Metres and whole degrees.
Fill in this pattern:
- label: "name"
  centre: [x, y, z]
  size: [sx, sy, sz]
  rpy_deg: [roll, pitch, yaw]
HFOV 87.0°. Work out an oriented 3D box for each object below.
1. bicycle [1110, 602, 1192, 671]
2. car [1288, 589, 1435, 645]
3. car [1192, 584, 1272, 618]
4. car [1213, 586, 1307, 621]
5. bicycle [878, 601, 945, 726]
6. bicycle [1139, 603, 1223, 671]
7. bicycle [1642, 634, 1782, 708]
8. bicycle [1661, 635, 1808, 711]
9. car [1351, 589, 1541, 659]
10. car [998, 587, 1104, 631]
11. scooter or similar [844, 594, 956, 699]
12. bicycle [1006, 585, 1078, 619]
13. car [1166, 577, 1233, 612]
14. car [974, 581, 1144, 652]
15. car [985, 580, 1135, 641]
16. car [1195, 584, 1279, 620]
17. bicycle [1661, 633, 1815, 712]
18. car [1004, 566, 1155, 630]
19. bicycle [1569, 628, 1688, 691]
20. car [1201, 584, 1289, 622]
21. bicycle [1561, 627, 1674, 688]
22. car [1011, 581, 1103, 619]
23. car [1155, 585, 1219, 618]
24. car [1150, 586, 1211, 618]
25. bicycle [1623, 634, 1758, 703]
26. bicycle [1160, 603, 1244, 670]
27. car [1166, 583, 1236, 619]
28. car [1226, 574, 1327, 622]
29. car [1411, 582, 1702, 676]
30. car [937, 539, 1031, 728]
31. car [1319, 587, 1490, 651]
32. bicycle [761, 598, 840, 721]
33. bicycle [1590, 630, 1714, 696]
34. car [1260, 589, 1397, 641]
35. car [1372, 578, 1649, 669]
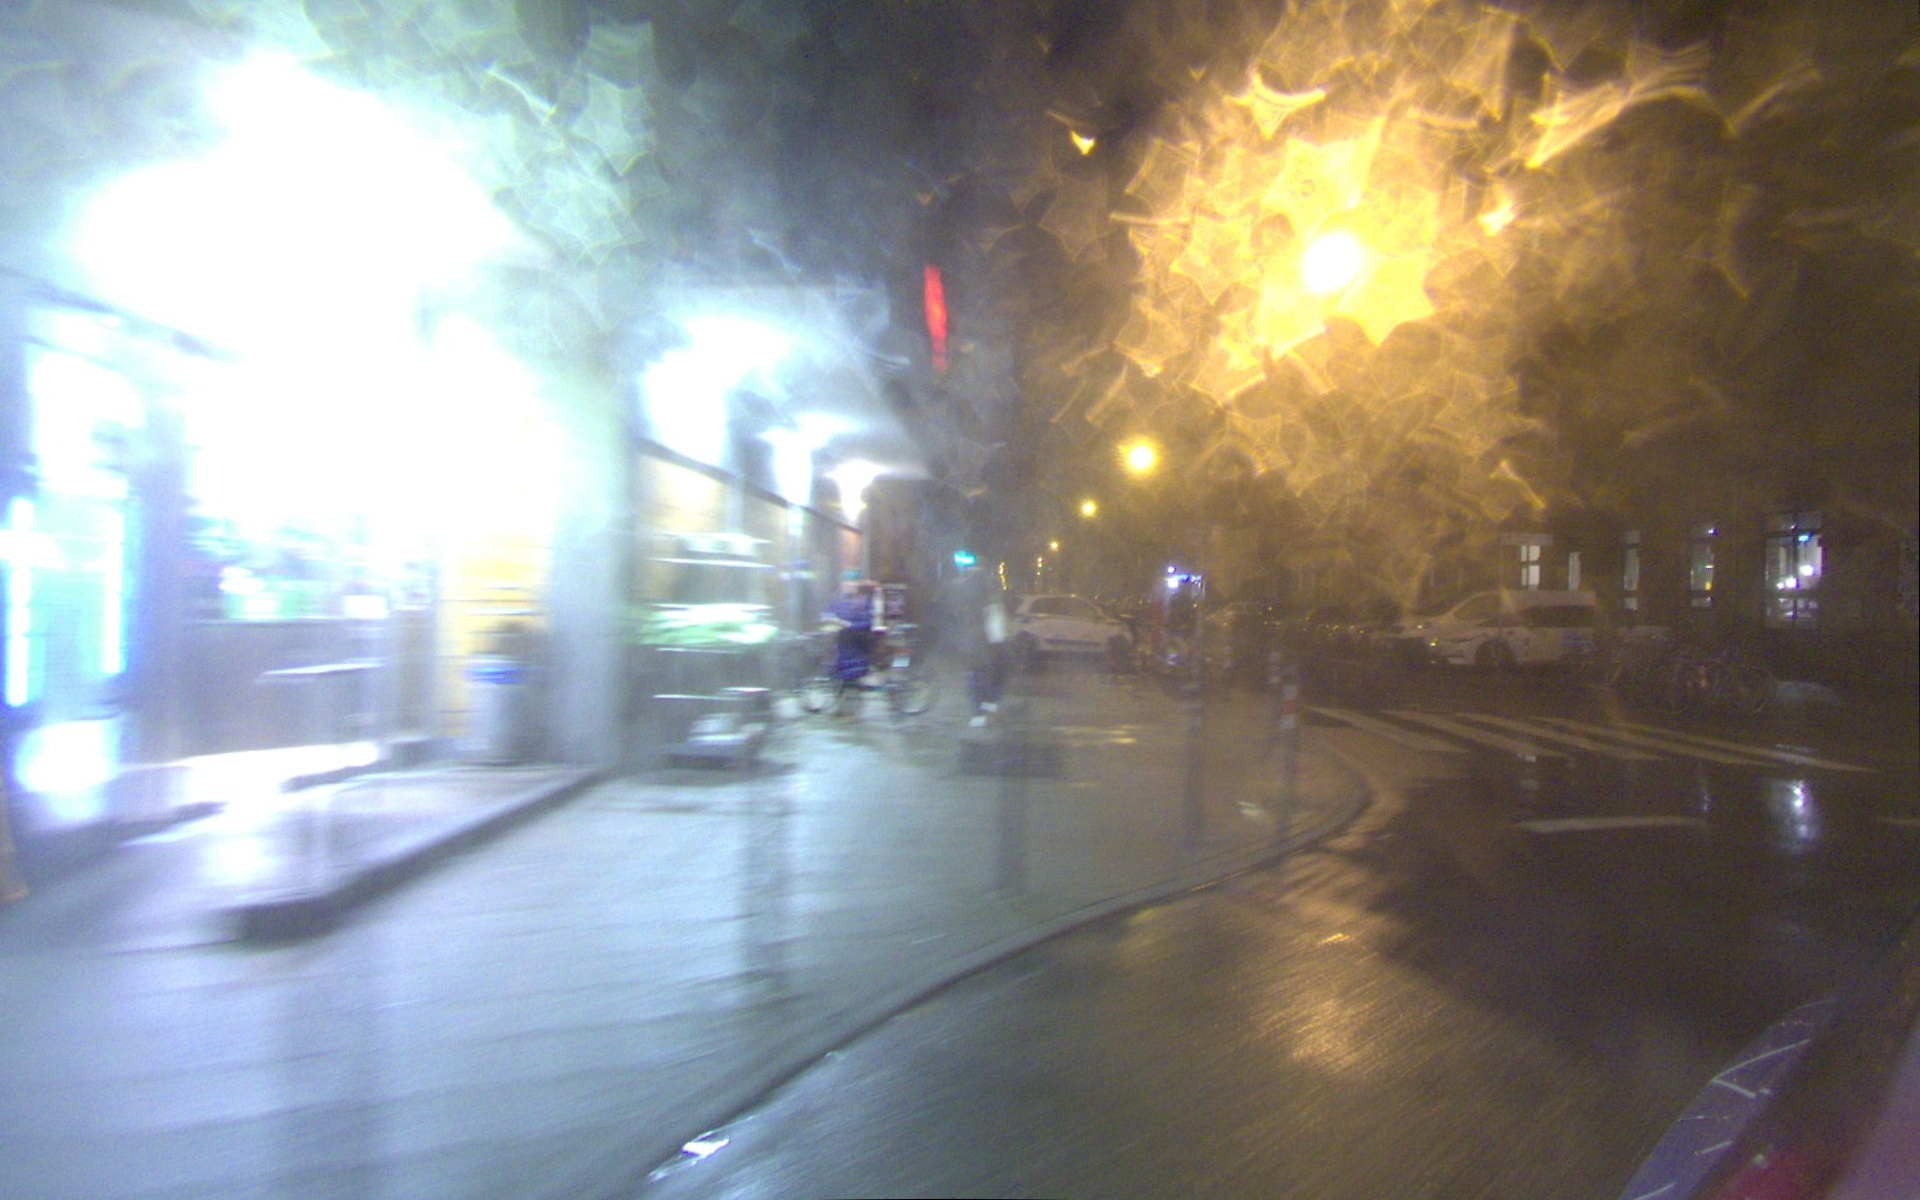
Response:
- label: "bicycle"
  centre: [3.459, 0.649, 18.479]
  size: [0.442, 1.191, 1.968]
  rpy_deg: [1, -1, -24]
- label: "car"
  centre: [14.136, 0.591, 35.819]
  size: [4.381, 1.785, 1.999]
  rpy_deg: [2, -1, 2]
- label: "car"
  centre: [14.655, 0.071, 54.663]
  size: [3.933, 1.794, 1.995]
  rpy_deg: [0, -1, 8]
- label: "car"
  centre: [13.997, 0.193, 47.435]
  size: [3.933, 1.572, 1.995]
  rpy_deg: [0, -1, 8]
- label: "bicycle"
  centre: [-0.484, 0.616, 10.727]
  size: [0.377, 1.189, 1.783]
  rpy_deg: [2, 0, 7]
- label: "bicycle"
  centre: [4.065, 0.659, 18.776]
  size: [0.442, 1.191, 1.968]
  rpy_deg: [1, -1, -24]
- label: "bicycle"
  centre: [11.572, 1.086, 15.601]
  size: [1.778, 1.021, 0.379]
  rpy_deg: [2, 0, 4]
- label: "bicycle"
  centre: [11.566, 1.079, 15.143]
  size: [1.778, 1.021, 0.403]
  rpy_deg: [2, 0, 4]
- label: "car"
  centre: [13.688, 0.655, 28.725]
  size: [4.381, 1.785, 1.999]
  rpy_deg: [2, -1, 2]
- label: "car"
  centre: [3.449, 0.374, 38.501]
  size: [3.615, 1.598, 1.760]
  rpy_deg: [1, -1, -22]
- label: "scooter or similar"
  centre: [-0.749, 0.577, 12.841]
  size: [1.291, 1.245, 0.525]
  rpy_deg: [2, -1, 9]
- label: "bicycle"
  centre: [5.065, 0.137, 62.818]
  size: [3.916, 2.039, 2.004]
  rpy_deg: [1, 0, -22]
- label: "car"
  centre: [15.506, -0.357, 65.622]
  size: [3.931, 2.039, 1.997]
  rpy_deg: [2, 0, 6]
- label: "car"
  centre: [2.334, 0.404, 23.996]
  size: [3.615, 1.598, 1.760]
  rpy_deg: [1, -1, -22]
- label: "car"
  centre: [2.918, 0.334, 29.570]
  size: [4.021, 1.684, 1.760]
  rpy_deg: [1, -1, -22]
- label: "car"
  centre: [14.213, 0.130, 52.117]
  size: [3.933, 1.794, 1.995]
  rpy_deg: [0, -1, 8]
- label: "bicycle"
  centre: [11.267, 1.043, 14.685]
  size: [1.778, 1.021, 0.454]
  rpy_deg: [2, 0, 4]
- label: "car"
  centre: [3.200, -0.016, 27.183]
  size: [3.615, 1.598, 1.760]
  rpy_deg: [1, -1, -22]
- label: "bicycle"
  centre: [11.975, 1.065, 18.146]
  size: [1.778, 1.021, 0.403]
  rpy_deg: [2, 0, 4]
- label: "car"
  centre: [13.947, 0.147, 49.721]
  size: [3.933, 1.796, 1.995]
  rpy_deg: [0, -1, 8]
- label: "bicycle"
  centre: [12.129, 1.048, 18.688]
  size: [1.745, 1.021, 0.403]
  rpy_deg: [2, 0, 4]
- label: "car"
  centre: [4.273, 0.034, 44.549]
  size: [3.615, 1.598, 1.760]
  rpy_deg: [1, -1, -22]
- label: "car"
  centre: [15.364, 0.089, 68.605]
  size: [3.931, 2.039, 1.997]
  rpy_deg: [2, 0, 6]
- label: "car"
  centre: [15.502, 0.135, 71.418]
  size: [3.931, 2.039, 1.997]
  rpy_deg: [2, 0, 6]
- label: "bicycle"
  centre: [11.578, 1.073, 16.070]
  size: [1.777, 1.021, 0.403]
  rpy_deg: [1, 0, 4]
- label: "bicycle"
  centre: [4.508, 0.668, 19.003]
  size: [0.442, 1.191, 1.968]
  rpy_deg: [1, -1, -24]
- label: "car"
  centre: [14.957, 0.075, 62.918]
  size: [3.931, 2.039, 1.997]
  rpy_deg: [2, 0, 6]
- label: "car"
  centre: [13.898, -0.088, 44.650]
  size: [3.933, 2.040, 1.995]
  rpy_deg: [0, -2, 8]
- label: "car"
  centre: [12.699, 0.592, 21.811]
  size: [5.003, 1.785, 1.999]
  rpy_deg: [2, -1, 2]
- label: "car"
  centre: [0.273, 0.331, 10.666]
  size: [0.861, 1.864, 0.963]
  rpy_deg: [2, 0, 5]
- label: "car"
  centre: [13.659, 0.580, 31.306]
  size: [4.381, 1.785, 1.999]
  rpy_deg: [2, -1, 2]
- label: "bicycle"
  centre: [-1.637, 0.589, 10.572]
  size: [0.377, 1.189, 1.644]
  rpy_deg: [-1, -1, 7]
- label: "bicycle"
  centre: [11.979, 1.086, 17.552]
  size: [1.778, 1.021, 0.403]
  rpy_deg: [2, 0, 4]
- label: "car"
  centre: [13.812, 0.554, 38.103]
  size: [4.381, 1.785, 1.999]
  rpy_deg: [2, -1, 2]
- label: "car"
  centre: [13.002, 0.532, 24.183]
  size: [5.445, 1.914, 1.999]
  rpy_deg: [2, -1, 2]
